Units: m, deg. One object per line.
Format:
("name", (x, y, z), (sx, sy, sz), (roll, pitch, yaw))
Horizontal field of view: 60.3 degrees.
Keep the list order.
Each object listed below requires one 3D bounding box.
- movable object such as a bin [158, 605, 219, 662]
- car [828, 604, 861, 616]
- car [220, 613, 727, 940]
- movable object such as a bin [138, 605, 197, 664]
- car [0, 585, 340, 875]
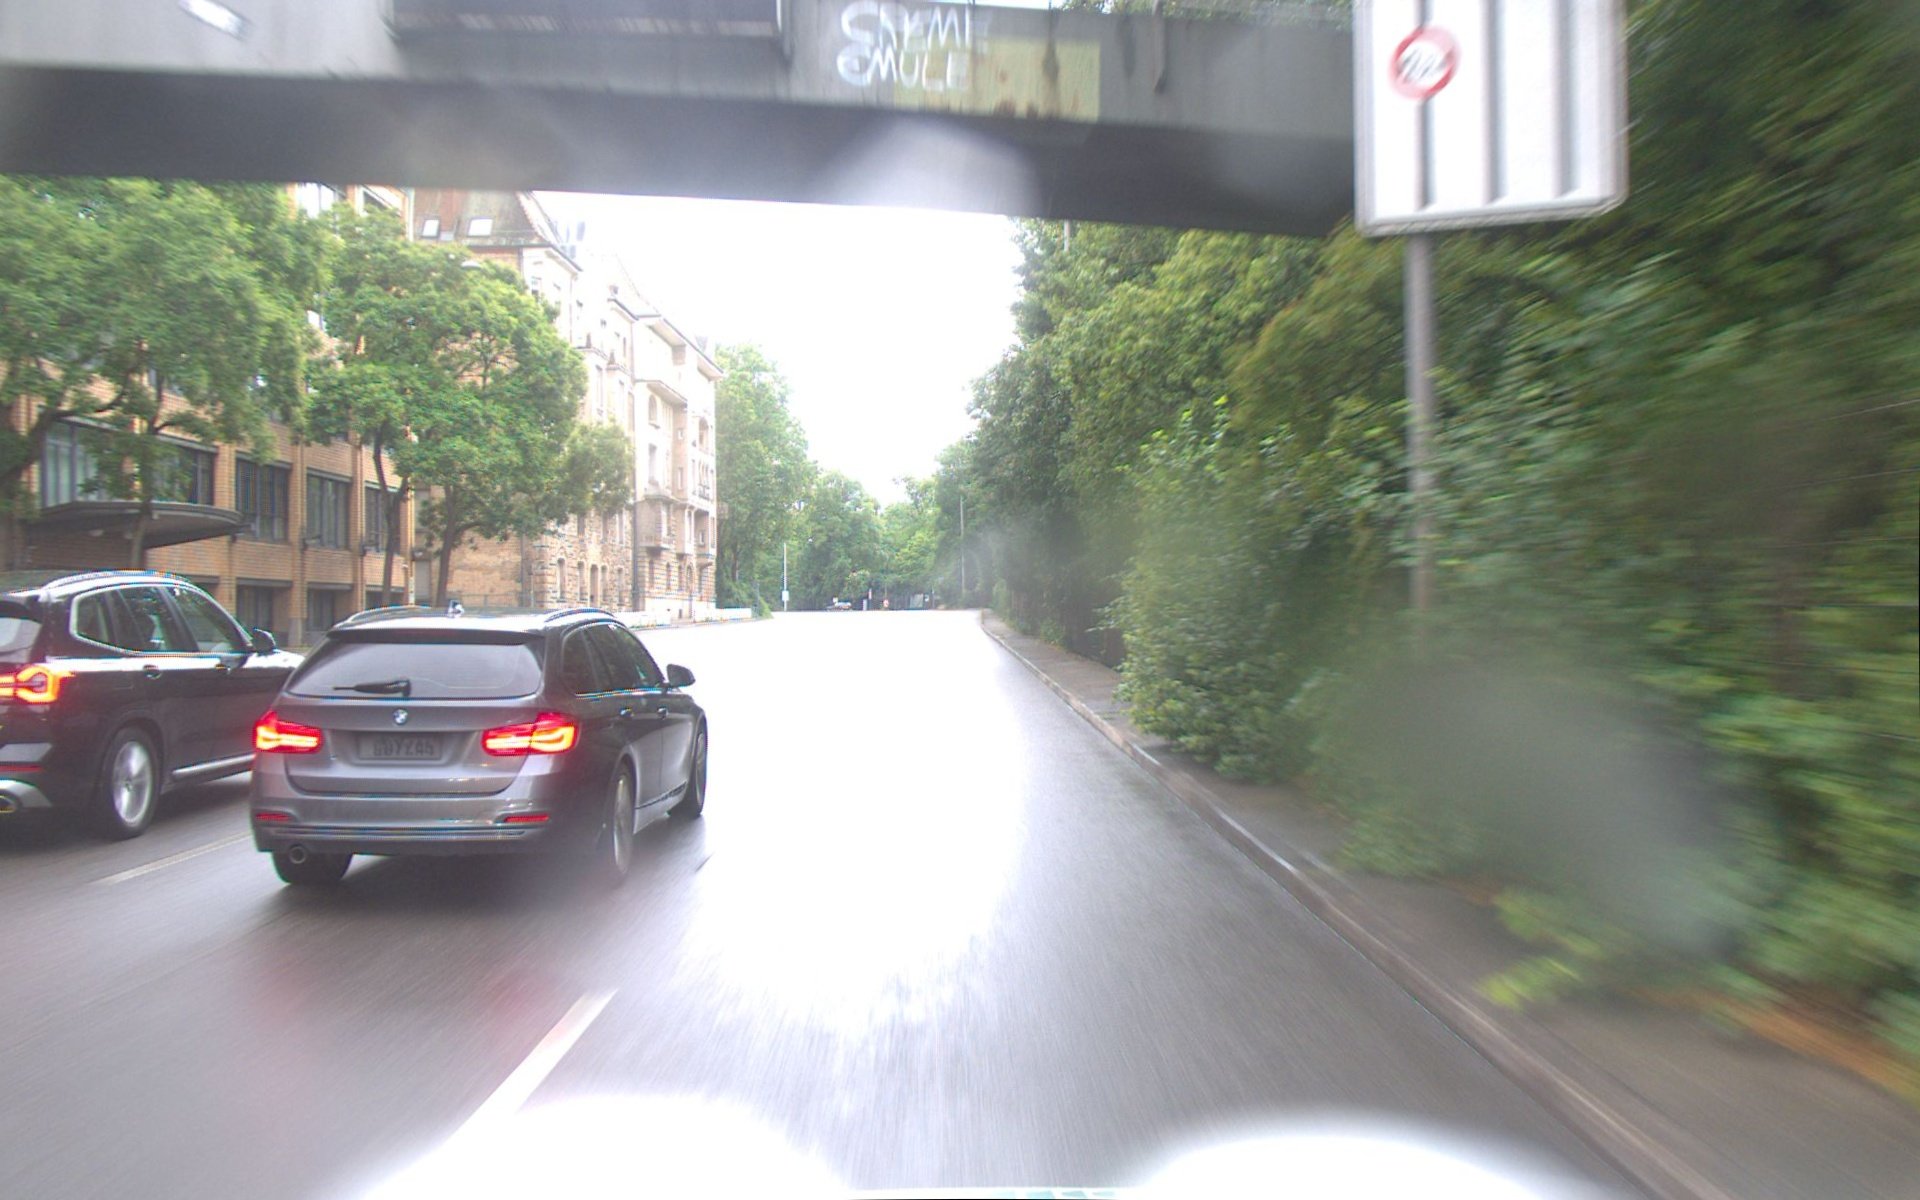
("movable object such as a bin", (-20.469, 0.876, 43.906), (1.047, 1.461, 1.371), (1, 0, -5))
("car", (-14.710, 1.246, 210.328), (4.296, 1.452, 1.681), (-1, -3, 44))
("car", (-2.551, 0.831, 9.838), (1.722, 1.457, 4.412), (1, 0, -1))
("movable object such as a bin", (-20.380, 0.872, 42.555), (0.954, 1.461, 1.313), (1, 0, -5))
("car", (-5.955, 0.732, 11.413), (1.722, 1.614, 4.412), (0, 0, -1))
